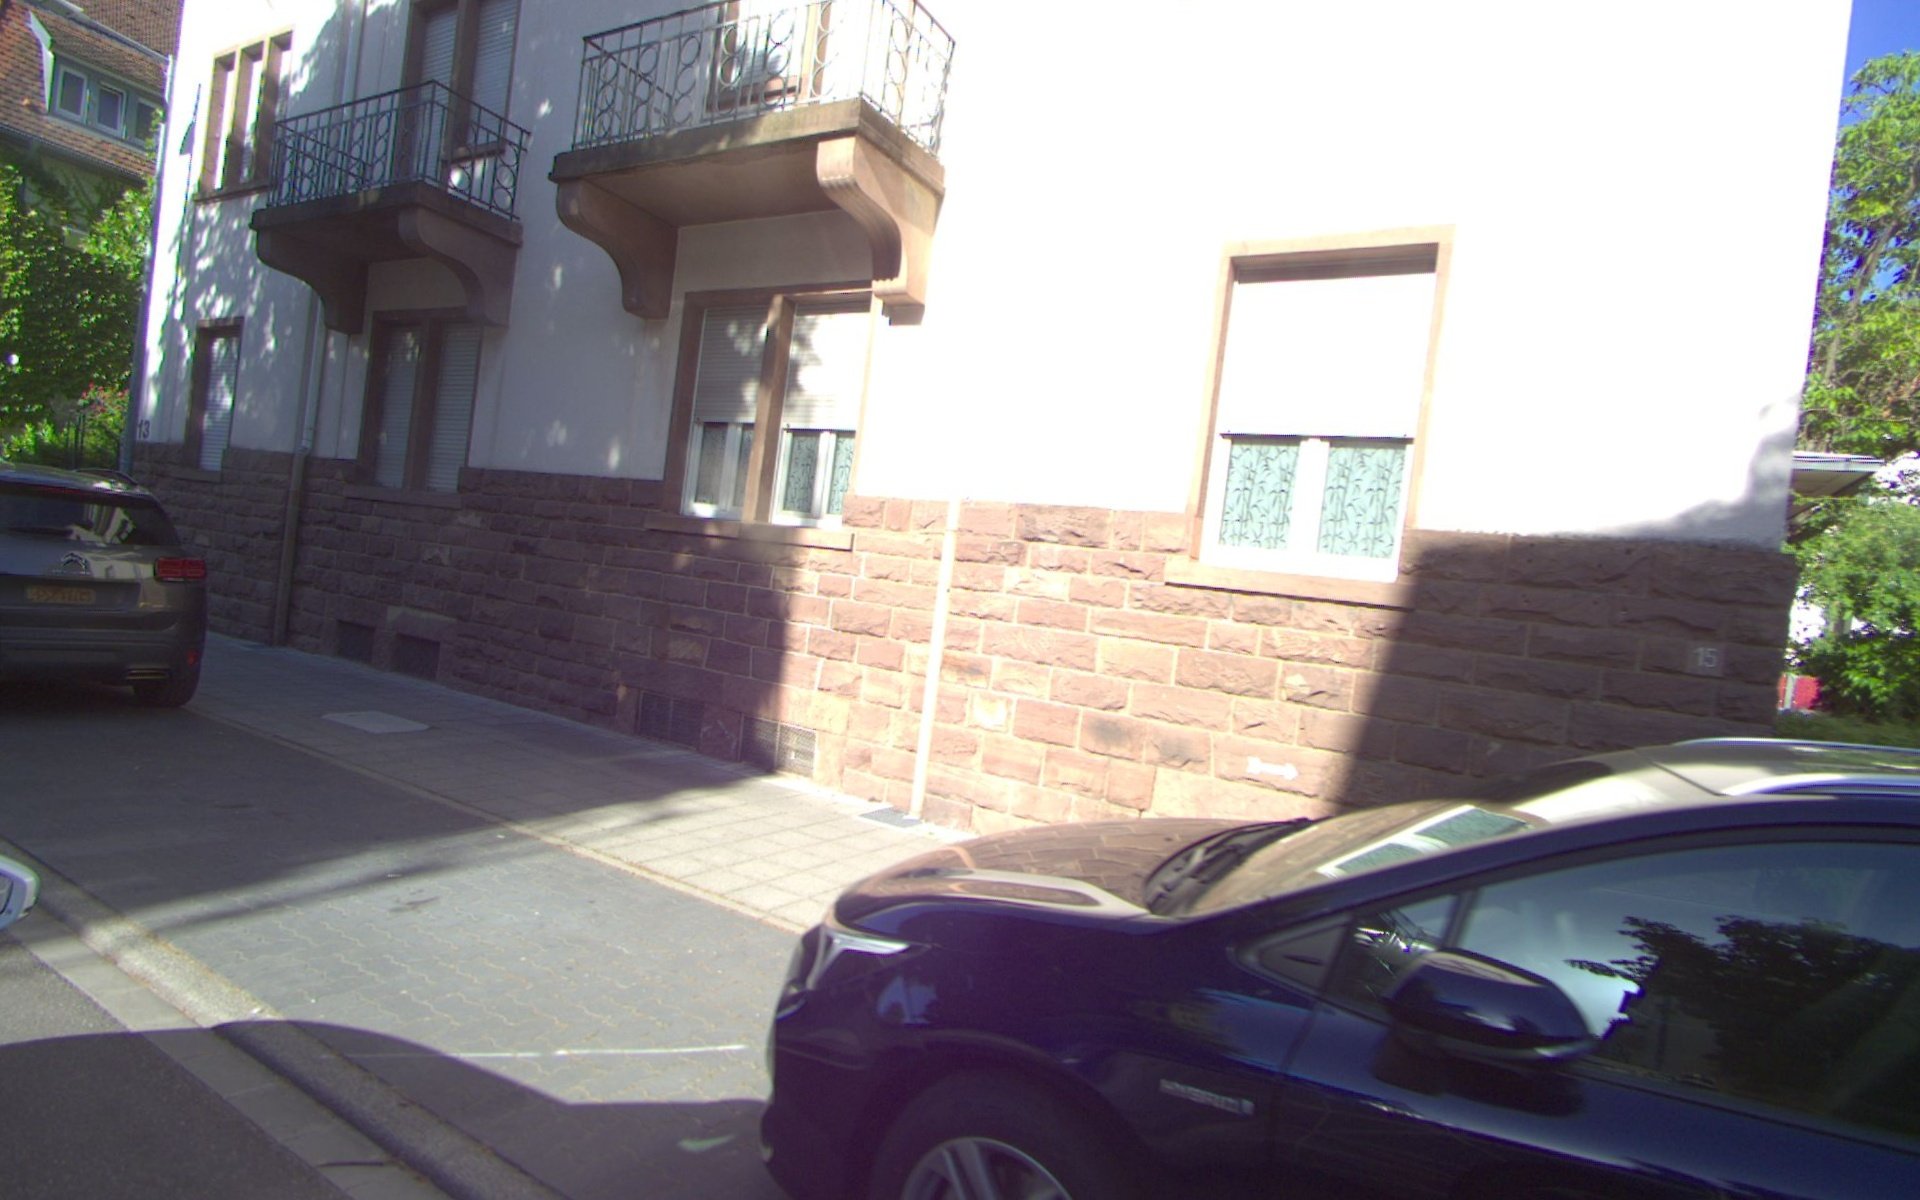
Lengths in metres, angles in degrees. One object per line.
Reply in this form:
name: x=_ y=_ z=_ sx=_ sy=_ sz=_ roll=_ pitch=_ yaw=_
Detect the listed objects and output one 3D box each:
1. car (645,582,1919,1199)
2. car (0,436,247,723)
car: x=1.657 y=0.988 z=1.856 sx=4.427 sy=1.471 sz=1.646 roll=7 pitch=-1 yaw=31
car: x=-7.417 y=-0.257 z=7.486 sx=4.249 sy=1.715 sz=1.782 roll=6 pitch=-3 yaw=32
